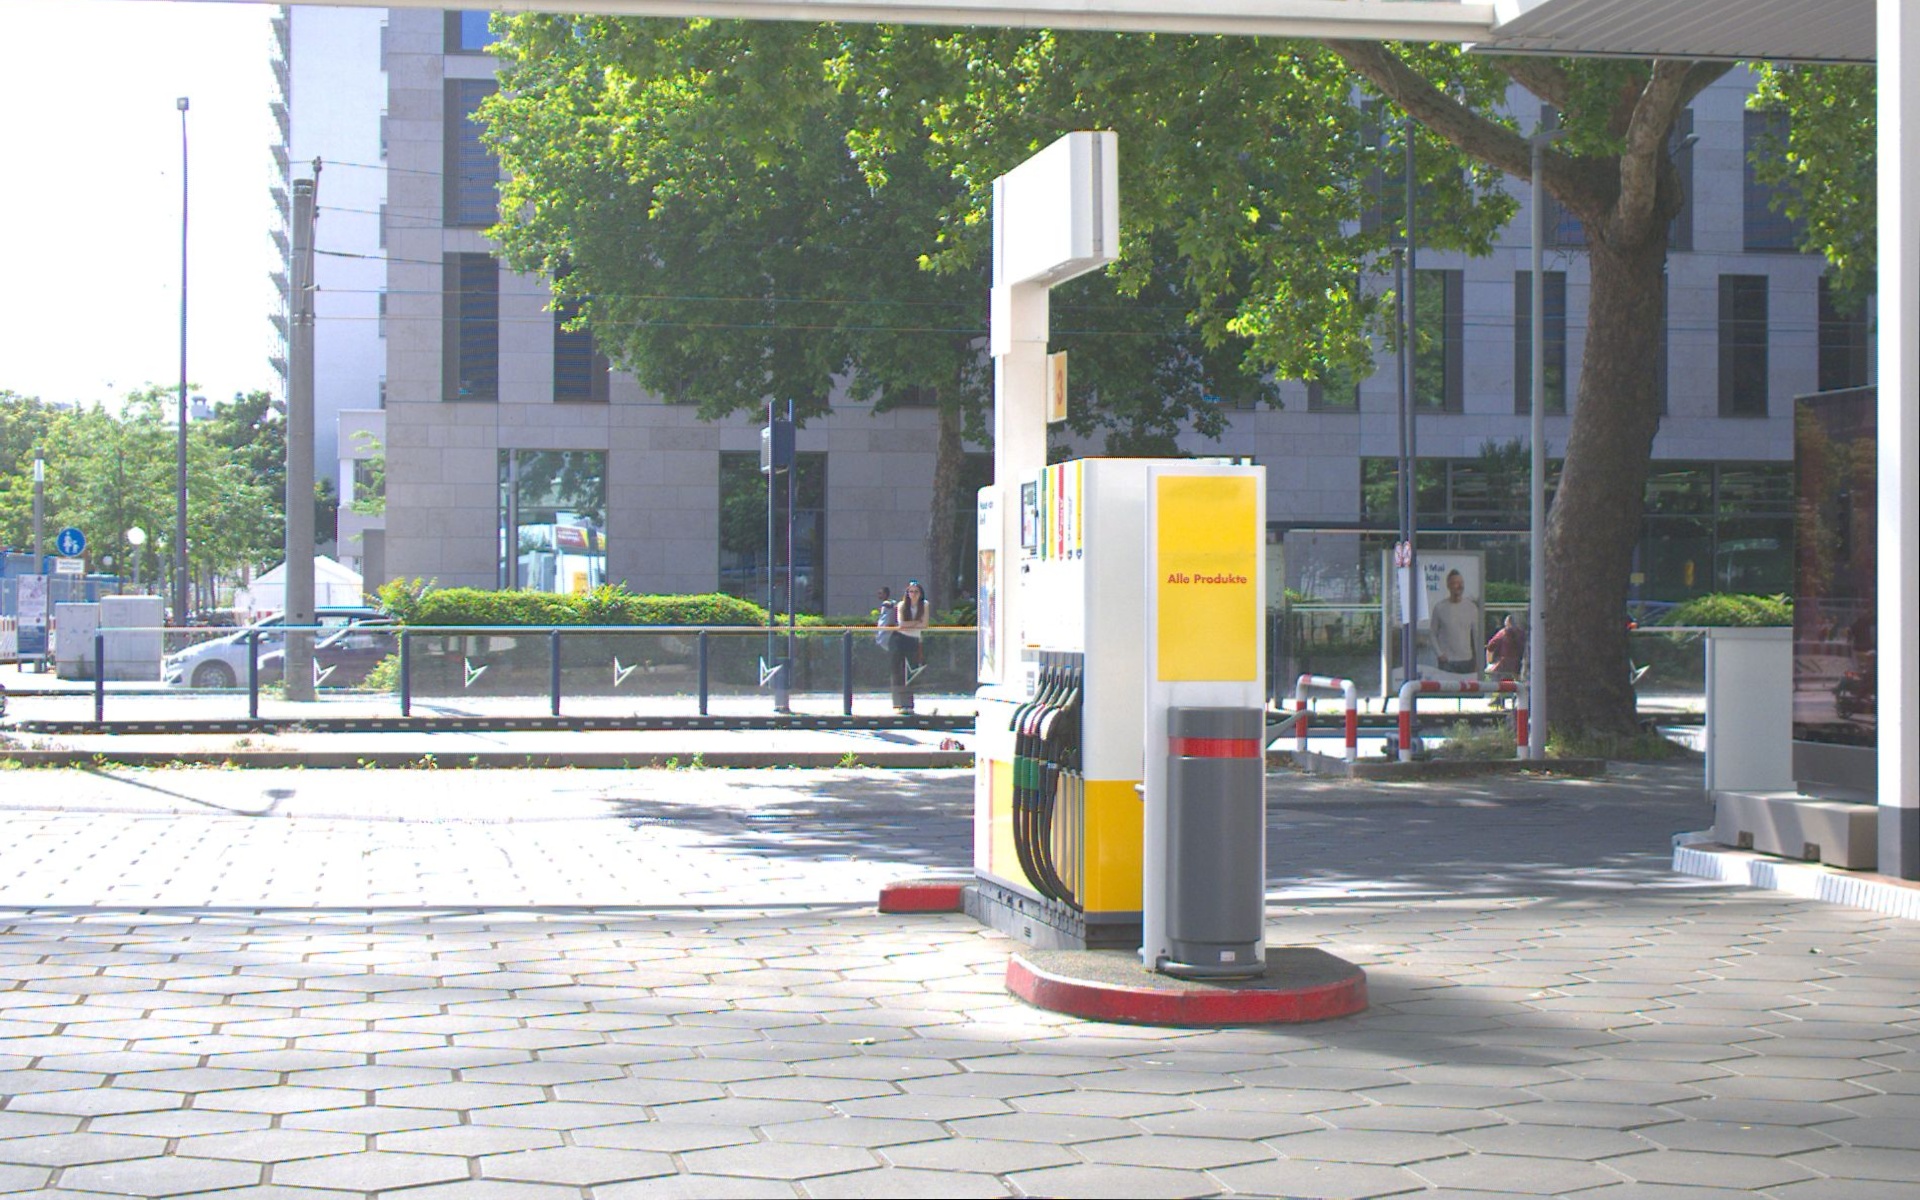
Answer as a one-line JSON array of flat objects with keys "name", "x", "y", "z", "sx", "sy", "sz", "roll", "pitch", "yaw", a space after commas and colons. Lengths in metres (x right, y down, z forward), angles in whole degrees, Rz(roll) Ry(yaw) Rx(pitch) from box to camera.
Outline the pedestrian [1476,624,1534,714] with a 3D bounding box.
[{"name": "pedestrian", "x": 6.990, "y": 0.882, "z": 44.123, "sx": 0.628, "sy": 1.134, "sz": 0.524, "roll": 0, "pitch": 0, "yaw": -3}]

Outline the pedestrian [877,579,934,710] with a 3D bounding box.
[{"name": "pedestrian", "x": -0.679, "y": 0.547, "z": 42.603, "sx": 0.584, "sy": 1.586, "sz": 0.670, "roll": 0, "pitch": 1, "yaw": -10}]

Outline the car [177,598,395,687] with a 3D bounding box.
[{"name": "car", "x": -11.920, "y": 0.743, "z": 60.751, "sx": 3.681, "sy": 1.547, "sz": 1.592, "roll": 0, "pitch": 0, "yaw": -15}]

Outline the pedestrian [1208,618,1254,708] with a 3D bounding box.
[{"name": "pedestrian", "x": 3.427, "y": 0.792, "z": 43.466, "sx": 0.499, "sy": 1.134, "sz": 0.524, "roll": 0, "pitch": 0, "yaw": -3}]

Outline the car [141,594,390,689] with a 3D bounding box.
[{"name": "car", "x": -11.612, "y": 0.693, "z": 57.432, "sx": 3.986, "sy": 1.547, "sz": 1.704, "roll": 0, "pitch": 0, "yaw": -15}]
